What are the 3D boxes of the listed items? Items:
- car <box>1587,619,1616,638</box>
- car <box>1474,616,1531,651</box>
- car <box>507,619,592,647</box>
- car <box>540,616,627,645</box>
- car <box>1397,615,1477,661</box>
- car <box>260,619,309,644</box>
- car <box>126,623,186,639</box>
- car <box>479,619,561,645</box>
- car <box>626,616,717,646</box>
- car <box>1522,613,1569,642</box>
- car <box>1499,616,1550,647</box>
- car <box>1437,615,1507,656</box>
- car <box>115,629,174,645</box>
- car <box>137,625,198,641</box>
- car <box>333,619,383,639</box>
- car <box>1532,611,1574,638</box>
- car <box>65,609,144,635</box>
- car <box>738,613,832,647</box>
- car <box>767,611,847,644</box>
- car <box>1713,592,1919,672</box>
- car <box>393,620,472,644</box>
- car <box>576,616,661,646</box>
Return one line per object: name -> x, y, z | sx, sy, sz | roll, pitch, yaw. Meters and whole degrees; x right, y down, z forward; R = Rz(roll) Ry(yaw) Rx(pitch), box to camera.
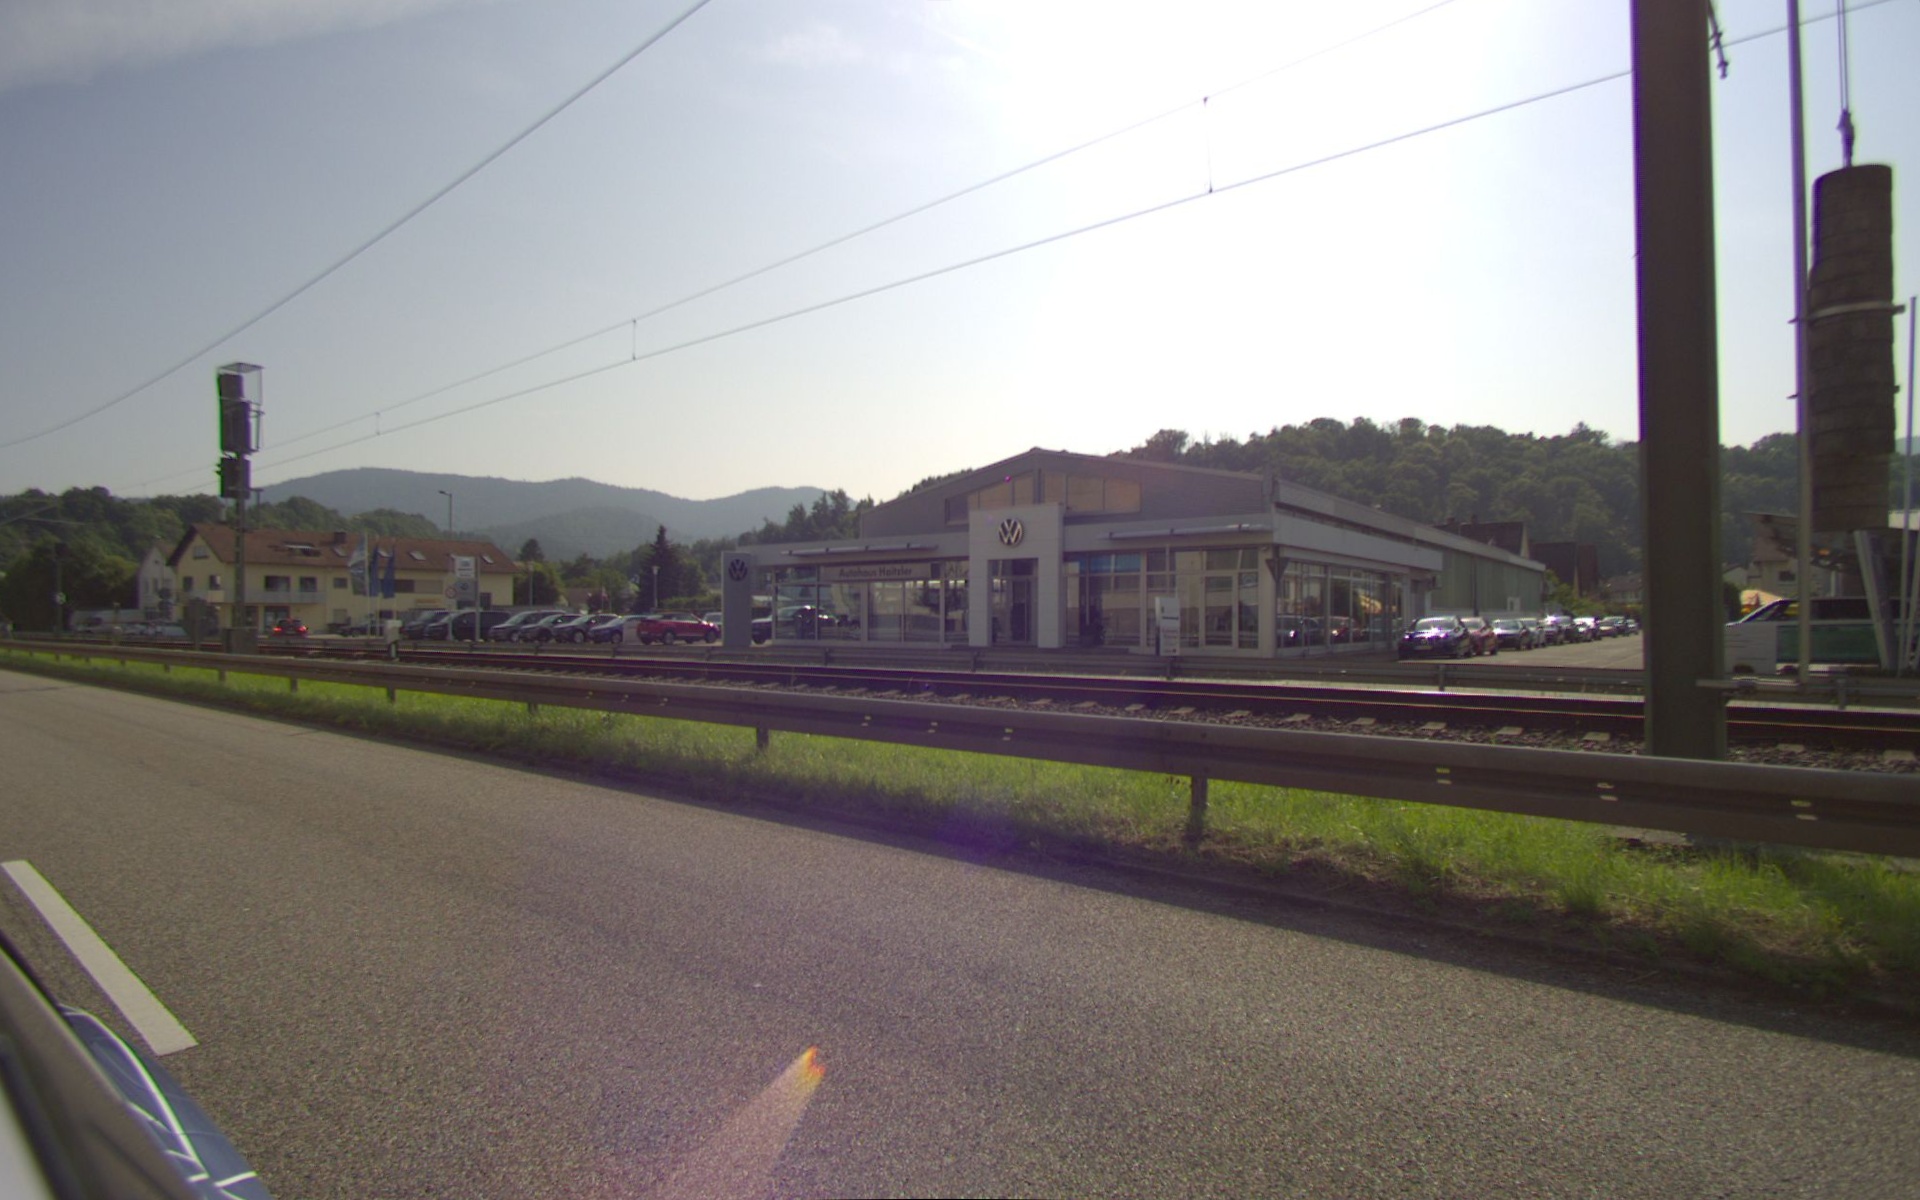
car -> 49.980, 2.218, 78.828 | 1.617, 1.431, 3.950 | -1, -1, 37
car -> 23.936, 1.443, 44.599 | 1.617, 1.431, 3.950 | -1, -1, 37
car -> -22.319, 1.778, 55.118 | 1.759, 1.471, 3.948 | -1, -2, 39
car -> -19.717, 1.572, 53.151 | 1.759, 1.471, 3.948 | -1, -2, 39
car -> 15.817, 1.212, 33.458 | 1.617, 1.431, 3.950 | -1, -1, 37
car -> -40.986, 1.890, 61.369 | 1.833, 1.471, 4.004 | 1, -2, -43
car -> -70.147, 2.692, 88.297 | 1.644, 1.309, 3.814 | -1, -1, 34
car -> -25.027, 1.807, 57.681 | 1.759, 1.471, 3.948 | -1, -2, 39
car -> -13.802, 1.474, 48.531 | 1.856, 1.385, 3.954 | -1, -2, 34
car -> 30.747, 1.428, 53.096 | 1.617, 1.431, 3.950 | -1, -1, 37
car -> 27.345, 1.484, 48.988 | 1.617, 1.431, 3.950 | -1, -1, 37
car -> 19.117, 1.274, 37.706 | 1.617, 1.431, 3.950 | -1, -1, 37
car -> -72.410, 3.286, 89.889 | 1.644, 1.309, 3.814 | -1, -1, 34
car -> -67.860, 2.821, 86.730 | 1.644, 1.309, 3.814 | -1, -1, 34
car -> -49.213, 2.386, 82.776 | 3.487, 1.588, 1.654 | 1, -2, -30
car -> 33.668, 1.376, 57.423 | 1.617, 1.431, 3.950 | -1, -1, 37
car -> -83.032, 2.131, 98.315 | 2.232, 2.435, 5.521 | -1, -1, 36
car -> -7.869, 1.336, 45.729 | 1.859, 1.471, 3.948 | -1, -2, 39
car -> -7.841, 1.395, 52.164 | 1.995, 1.593, 3.954 | -1, -1, 34
car -> 21.904, 0.786, 25.520 | 4.551, 1.872, 1.879 | -1, -1, 41
car -> -32.464, 1.951, 62.361 | 1.759, 1.471, 3.948 | -1, -2, 39
car -> -17.197, 1.558, 51.140 | 1.752, 1.471, 3.961 | -1, -2, 28
